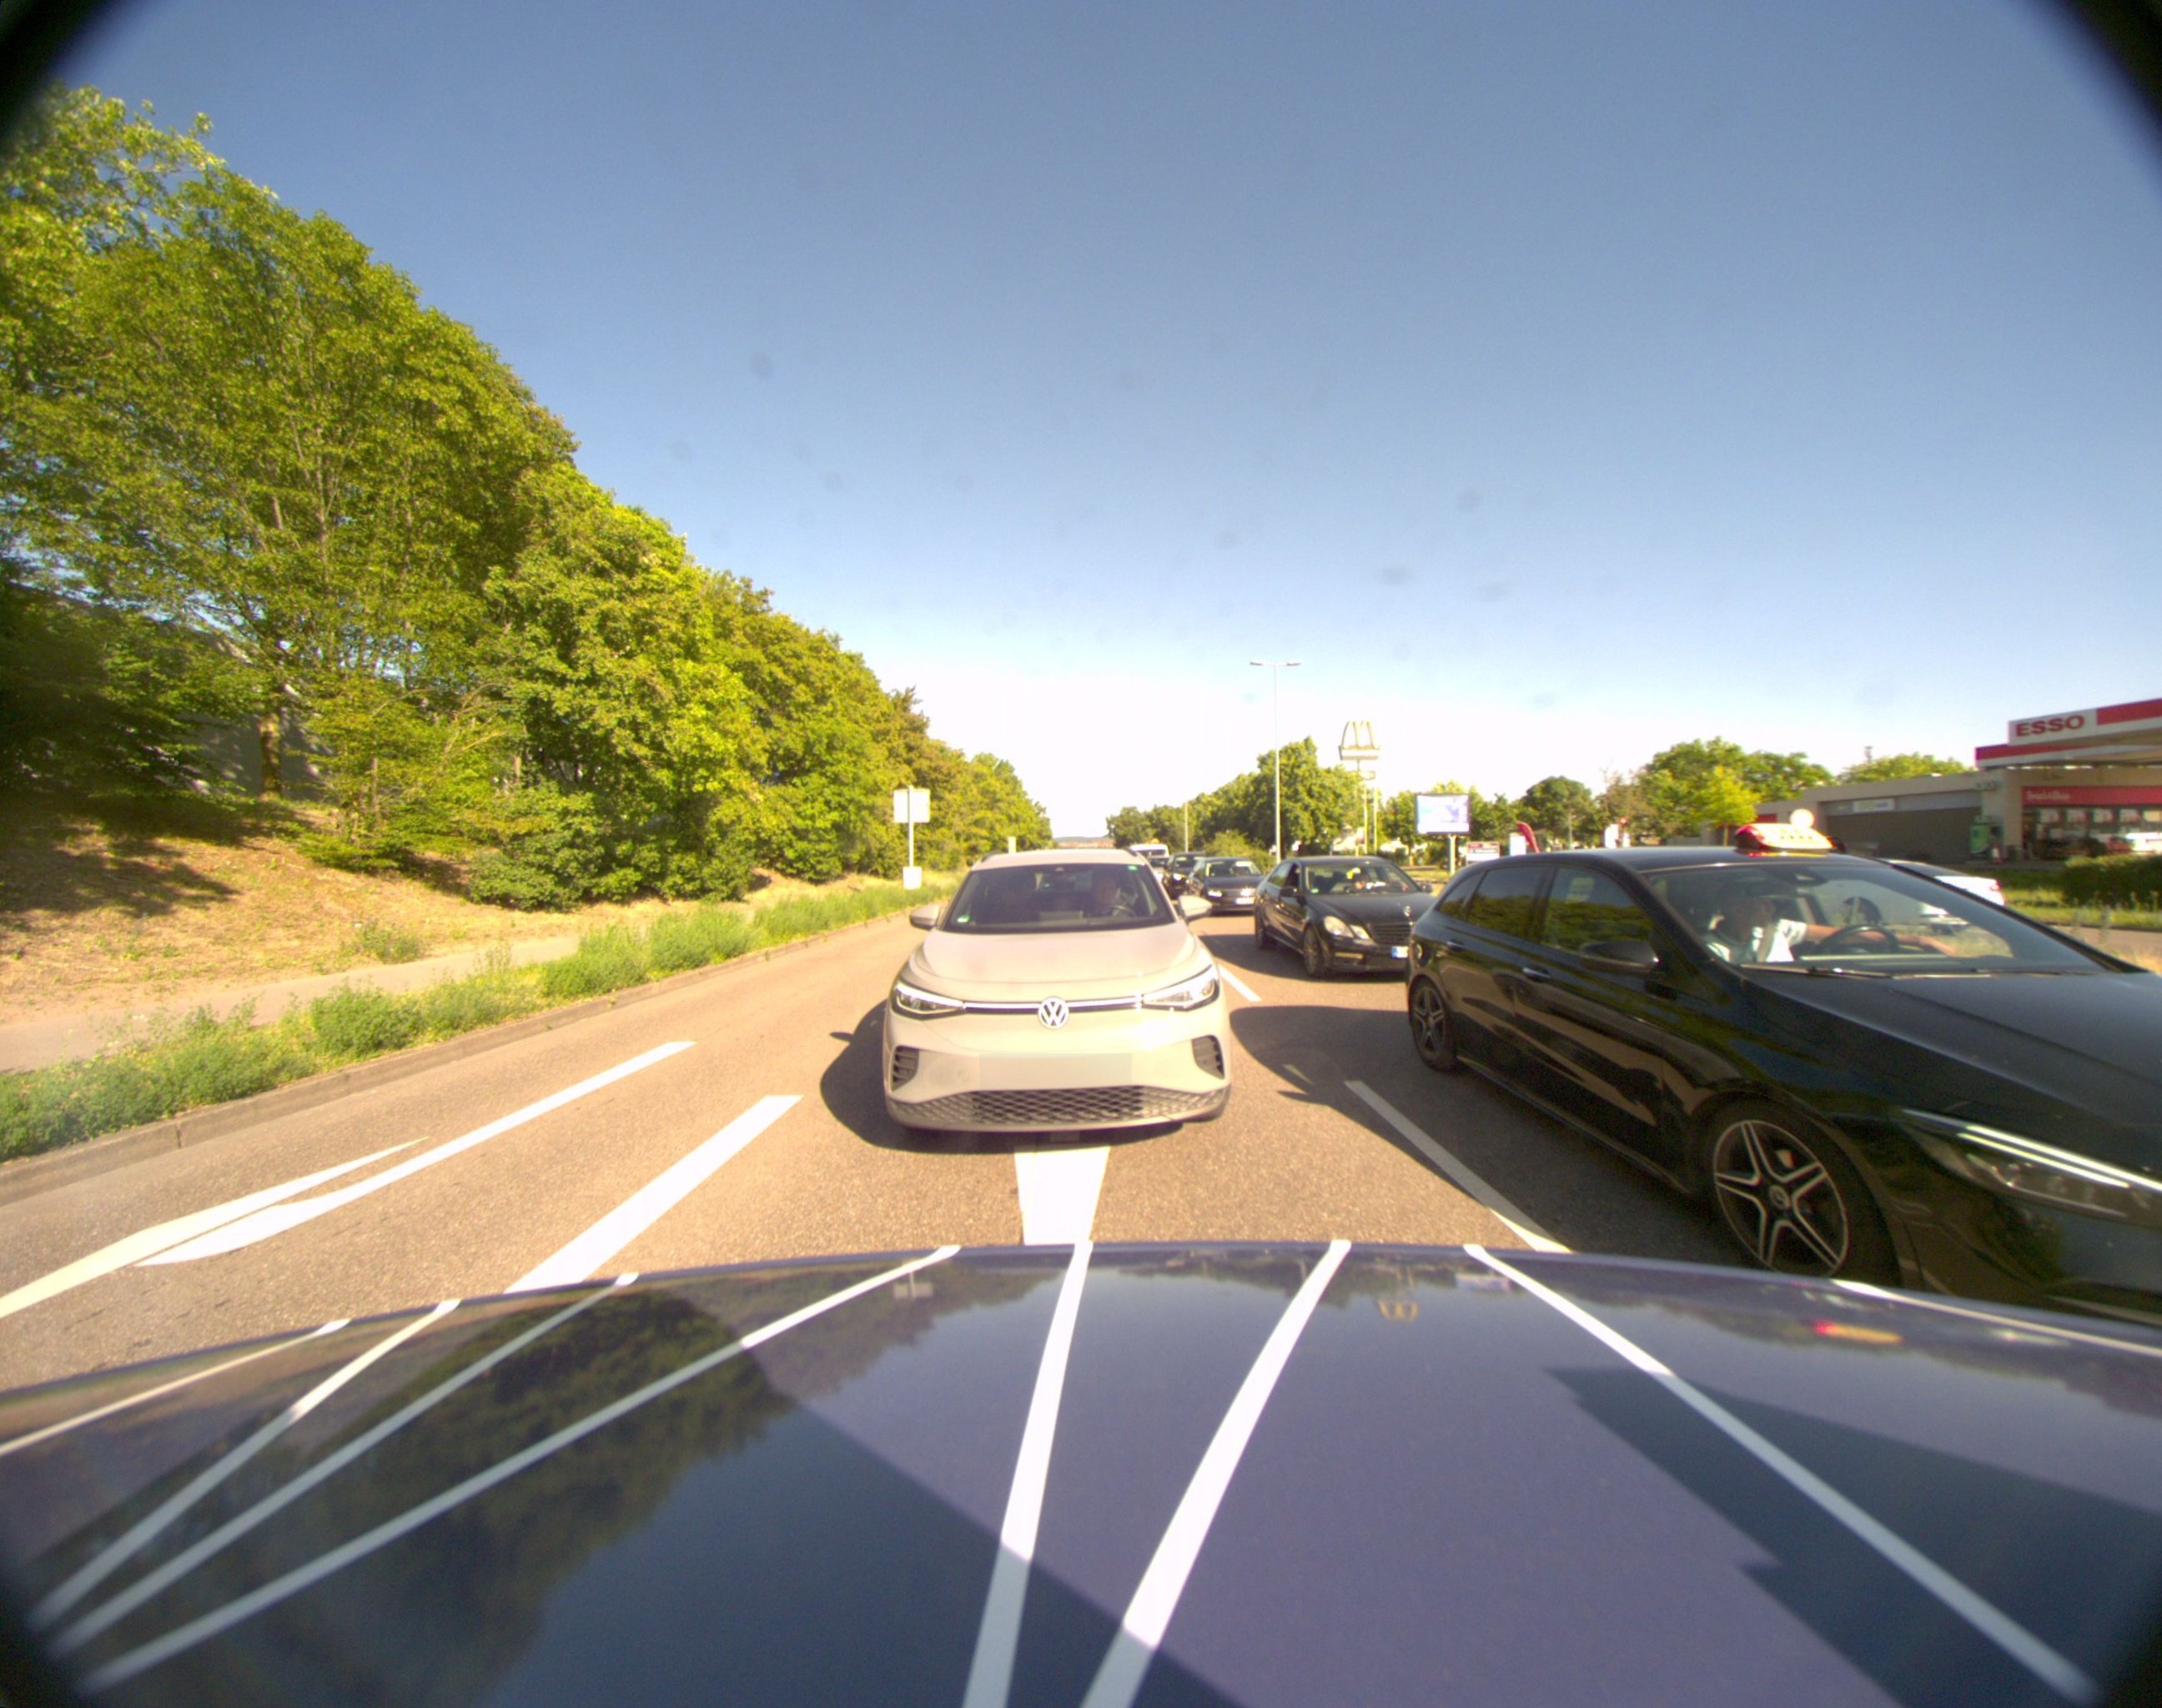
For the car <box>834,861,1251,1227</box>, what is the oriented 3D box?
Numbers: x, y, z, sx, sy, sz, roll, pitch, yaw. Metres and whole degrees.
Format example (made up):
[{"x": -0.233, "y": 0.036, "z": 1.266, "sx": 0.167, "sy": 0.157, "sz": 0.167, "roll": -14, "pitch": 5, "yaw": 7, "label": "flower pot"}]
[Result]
[{"x": -0.182, "y": 0.900, "z": 5.708, "sx": 1.862, "sy": 1.573, "sz": 4.403, "roll": -2, "pitch": 0, "yaw": 0, "label": "car"}]

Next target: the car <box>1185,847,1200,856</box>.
[{"x": 17.986, "y": -0.362, "z": 123.101, "sx": 1.763, "sy": 1.401, "sz": 3.978, "roll": 1, "pitch": 1, "yaw": 0, "label": "car"}]

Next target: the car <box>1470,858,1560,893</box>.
[{"x": 19.618, "y": 0.917, "z": 34.570, "sx": 1.763, "sy": 1.401, "sz": 3.978, "roll": 1, "pitch": 1, "yaw": 0, "label": "car"}]

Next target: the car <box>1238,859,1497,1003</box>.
[{"x": 3.588, "y": 0.852, "z": 10.506, "sx": 1.868, "sy": 1.430, "sz": 4.402, "roll": -2, "pitch": 1, "yaw": 0, "label": "car"}]

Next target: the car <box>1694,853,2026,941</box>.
[{"x": 15.889, "y": 0.767, "z": 16.004, "sx": 1.764, "sy": 1.482, "sz": 4.878, "roll": 2, "pitch": 1, "yaw": -3, "label": "car"}]

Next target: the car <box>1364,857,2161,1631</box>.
[{"x": 3.090, "y": 0.818, "z": 3.659, "sx": 1.763, "sy": 1.482, "sz": 4.402, "roll": -2, "pitch": 1, "yaw": 0, "label": "car"}]

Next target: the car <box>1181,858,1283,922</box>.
[{"x": 3.872, "y": 0.862, "z": 20.222, "sx": 1.797, "sy": 1.419, "sz": 4.287, "roll": -2, "pitch": 0, "yaw": 0, "label": "car"}]

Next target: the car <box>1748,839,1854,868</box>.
[{"x": 37.406, "y": -0.029, "z": 39.626, "sx": 1.682, "sy": 1.401, "sz": 3.978, "roll": 1, "pitch": 1, "yaw": 0, "label": "car"}]

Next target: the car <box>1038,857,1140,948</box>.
[{"x": 0.135, "y": 0.873, "z": 15.765, "sx": 1.763, "sy": 1.482, "sz": 4.402, "roll": -2, "pitch": 1, "yaw": 0, "label": "car"}]

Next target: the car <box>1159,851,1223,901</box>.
[{"x": 3.903, "y": 0.743, "z": 27.511, "sx": 1.674, "sy": 1.607, "sz": 3.879, "roll": -2, "pitch": 0, "yaw": 0, "label": "car"}]

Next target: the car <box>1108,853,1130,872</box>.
[{"x": 3.494, "y": 0.734, "z": 70.940, "sx": 1.763, "sy": 1.607, "sz": 4.402, "roll": -2, "pitch": 1, "yaw": 0, "label": "car"}]

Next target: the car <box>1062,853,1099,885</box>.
[{"x": -0.043, "y": 0.716, "z": 39.861, "sx": 1.763, "sy": 1.482, "sz": 4.402, "roll": -2, "pitch": 1, "yaw": 0, "label": "car"}]

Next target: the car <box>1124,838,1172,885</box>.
[{"x": 3.650, "y": 0.388, "z": 42.618, "sx": 2.019, "sy": 2.349, "sz": 6.523, "roll": -2, "pitch": 0, "yaw": 0, "label": "car"}]

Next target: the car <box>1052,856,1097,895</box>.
[{"x": -0.258, "y": 0.884, "z": 33.039, "sx": 1.763, "sy": 1.482, "sz": 4.402, "roll": -2, "pitch": 1, "yaw": 0, "label": "car"}]

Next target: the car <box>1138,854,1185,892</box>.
[{"x": 3.573, "y": 0.794, "z": 34.171, "sx": 1.635, "sy": 1.547, "sz": 3.777, "roll": -2, "pitch": 0, "yaw": 0, "label": "car"}]

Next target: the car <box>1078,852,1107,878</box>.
[{"x": 0.697, "y": 0.669, "z": 49.035, "sx": 1.763, "sy": 1.482, "sz": 4.402, "roll": -2, "pitch": 1, "yaw": 0, "label": "car"}]

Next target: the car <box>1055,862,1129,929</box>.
[{"x": 0.264, "y": 1.041, "z": 20.933, "sx": 1.763, "sy": 1.482, "sz": 4.402, "roll": -2, "pitch": 1, "yaw": 0, "label": "car"}]
